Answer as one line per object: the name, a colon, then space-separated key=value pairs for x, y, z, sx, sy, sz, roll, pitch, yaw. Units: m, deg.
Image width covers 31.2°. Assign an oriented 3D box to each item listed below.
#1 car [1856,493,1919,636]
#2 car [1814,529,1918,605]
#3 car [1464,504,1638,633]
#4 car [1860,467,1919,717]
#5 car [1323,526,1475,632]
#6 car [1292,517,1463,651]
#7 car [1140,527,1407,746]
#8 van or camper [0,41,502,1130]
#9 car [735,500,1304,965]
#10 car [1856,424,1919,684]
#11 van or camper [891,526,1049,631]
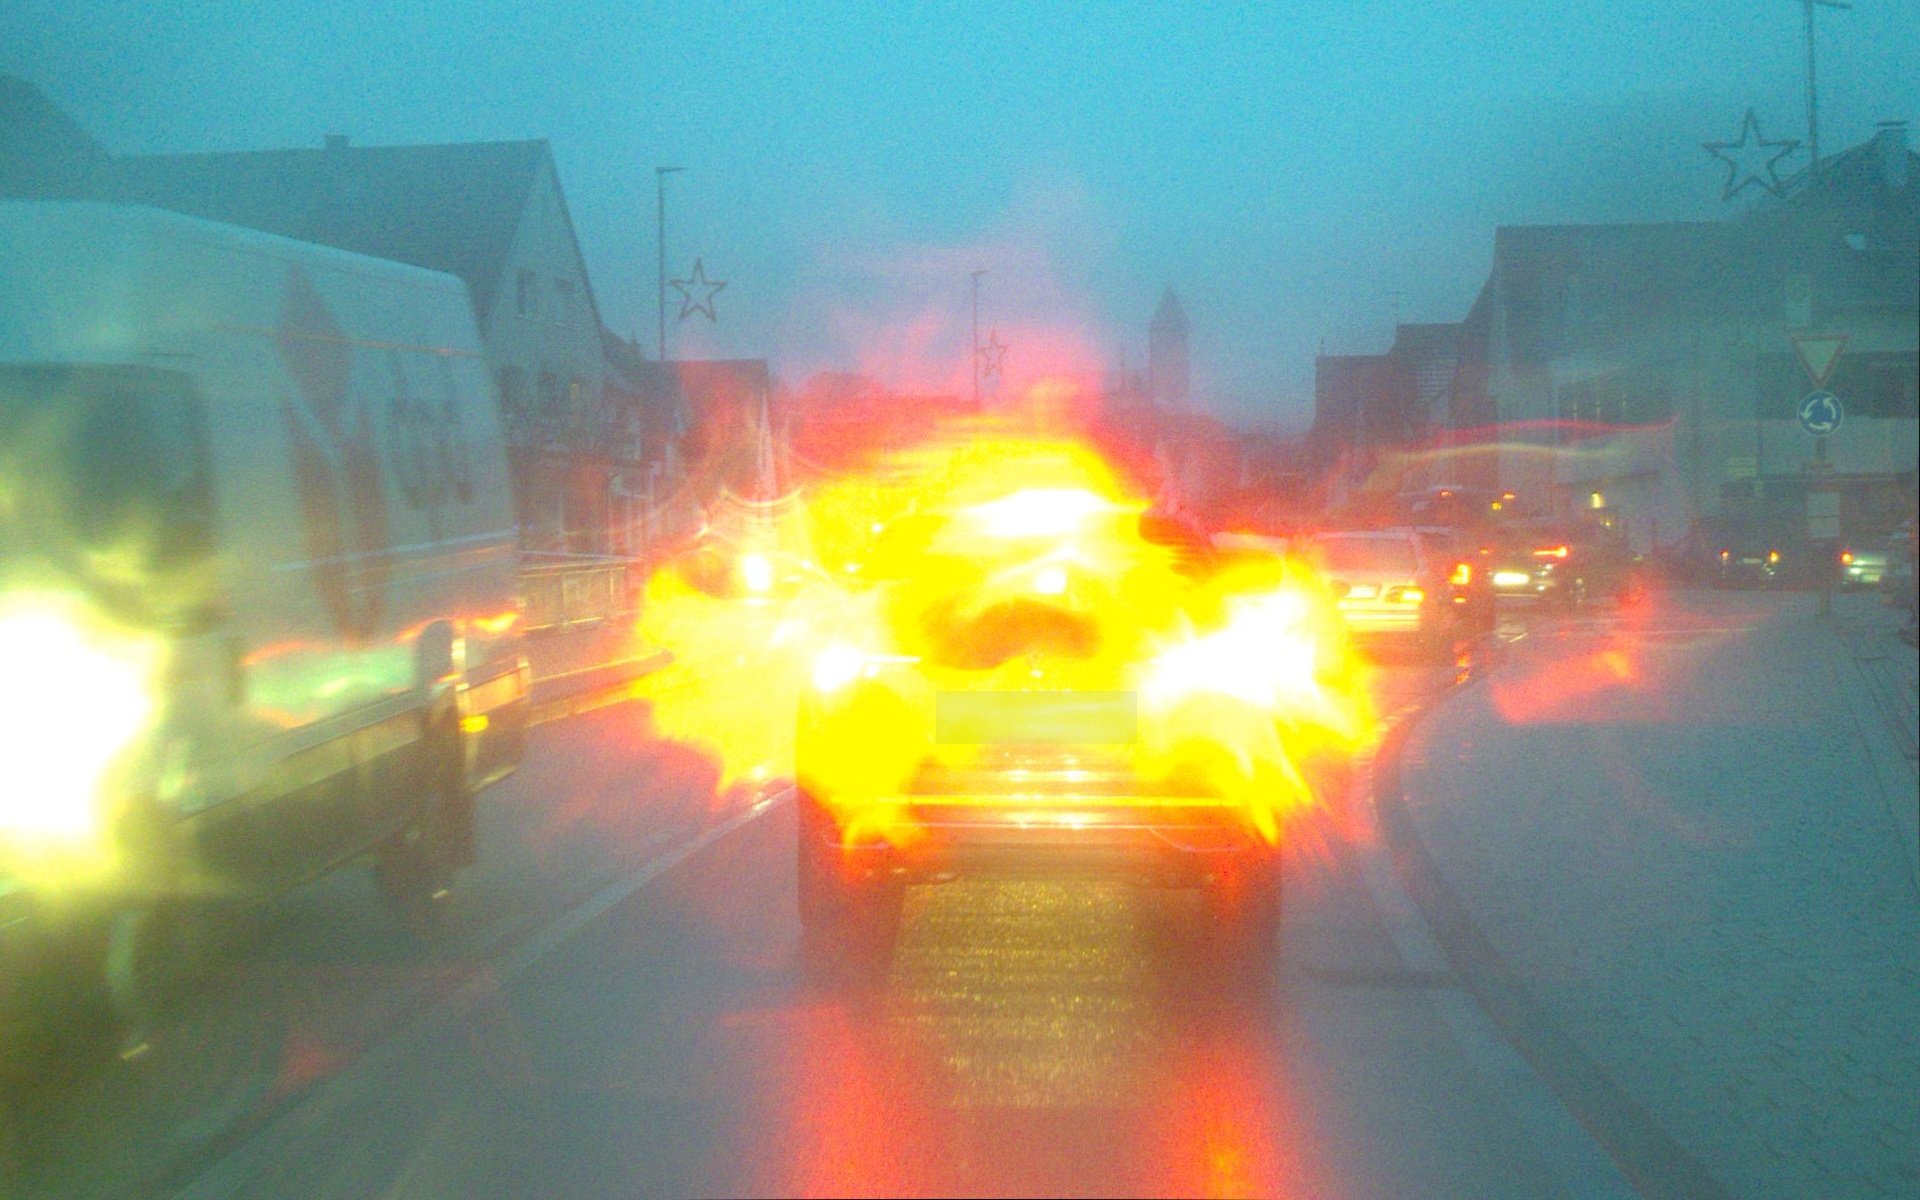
car: x=11.709 y=-0.478 z=35.929 sx=4.205 sy=1.455 sz=1.793 roll=-3 pitch=0 yaw=3
car: x=19.006 y=-0.703 z=72.043 sx=1.567 sy=1.408 sz=3.597 roll=-4 pitch=0 yaw=22
car: x=10.072 y=-0.566 z=58.315 sx=2.159 sy=1.984 sz=4.495 roll=-3 pitch=1 yaw=18
car: x=8.324 y=-0.287 z=22.631 sx=4.176 sy=1.633 sz=1.804 roll=-7 pitch=1 yaw=2
car: x=6.126 y=-0.314 z=47.651 sx=1.994 sy=1.387 sz=3.999 roll=0 pitch=1 yaw=9
car: x=4.743 y=-0.220 z=39.232 sx=1.815 sy=1.407 sz=3.999 roll=1 pitch=2 yaw=6
car: x=2.456 y=0.220 z=26.133 sx=1.683 sy=1.448 sz=3.999 roll=-2 pitch=1 yaw=9
van or camper: x=-3.287 y=-0.089 z=11.715 sx=2.240 sy=2.660 sz=6.555 roll=-1 pitch=1 yaw=3
car: x=0.323 y=0.401 z=14.153 sx=1.964 sy=1.589 sz=4.313 roll=1 pitch=2 yaw=3
car: x=9.372 y=-0.558 z=26.187 sx=4.564 sy=1.914 sz=1.949 roll=-6 pitch=-1 yaw=8
van or camper: x=0.171 y=-0.322 z=46.860 sx=1.563 sy=1.351 sz=3.420 roll=-1 pitch=1 yaw=10
